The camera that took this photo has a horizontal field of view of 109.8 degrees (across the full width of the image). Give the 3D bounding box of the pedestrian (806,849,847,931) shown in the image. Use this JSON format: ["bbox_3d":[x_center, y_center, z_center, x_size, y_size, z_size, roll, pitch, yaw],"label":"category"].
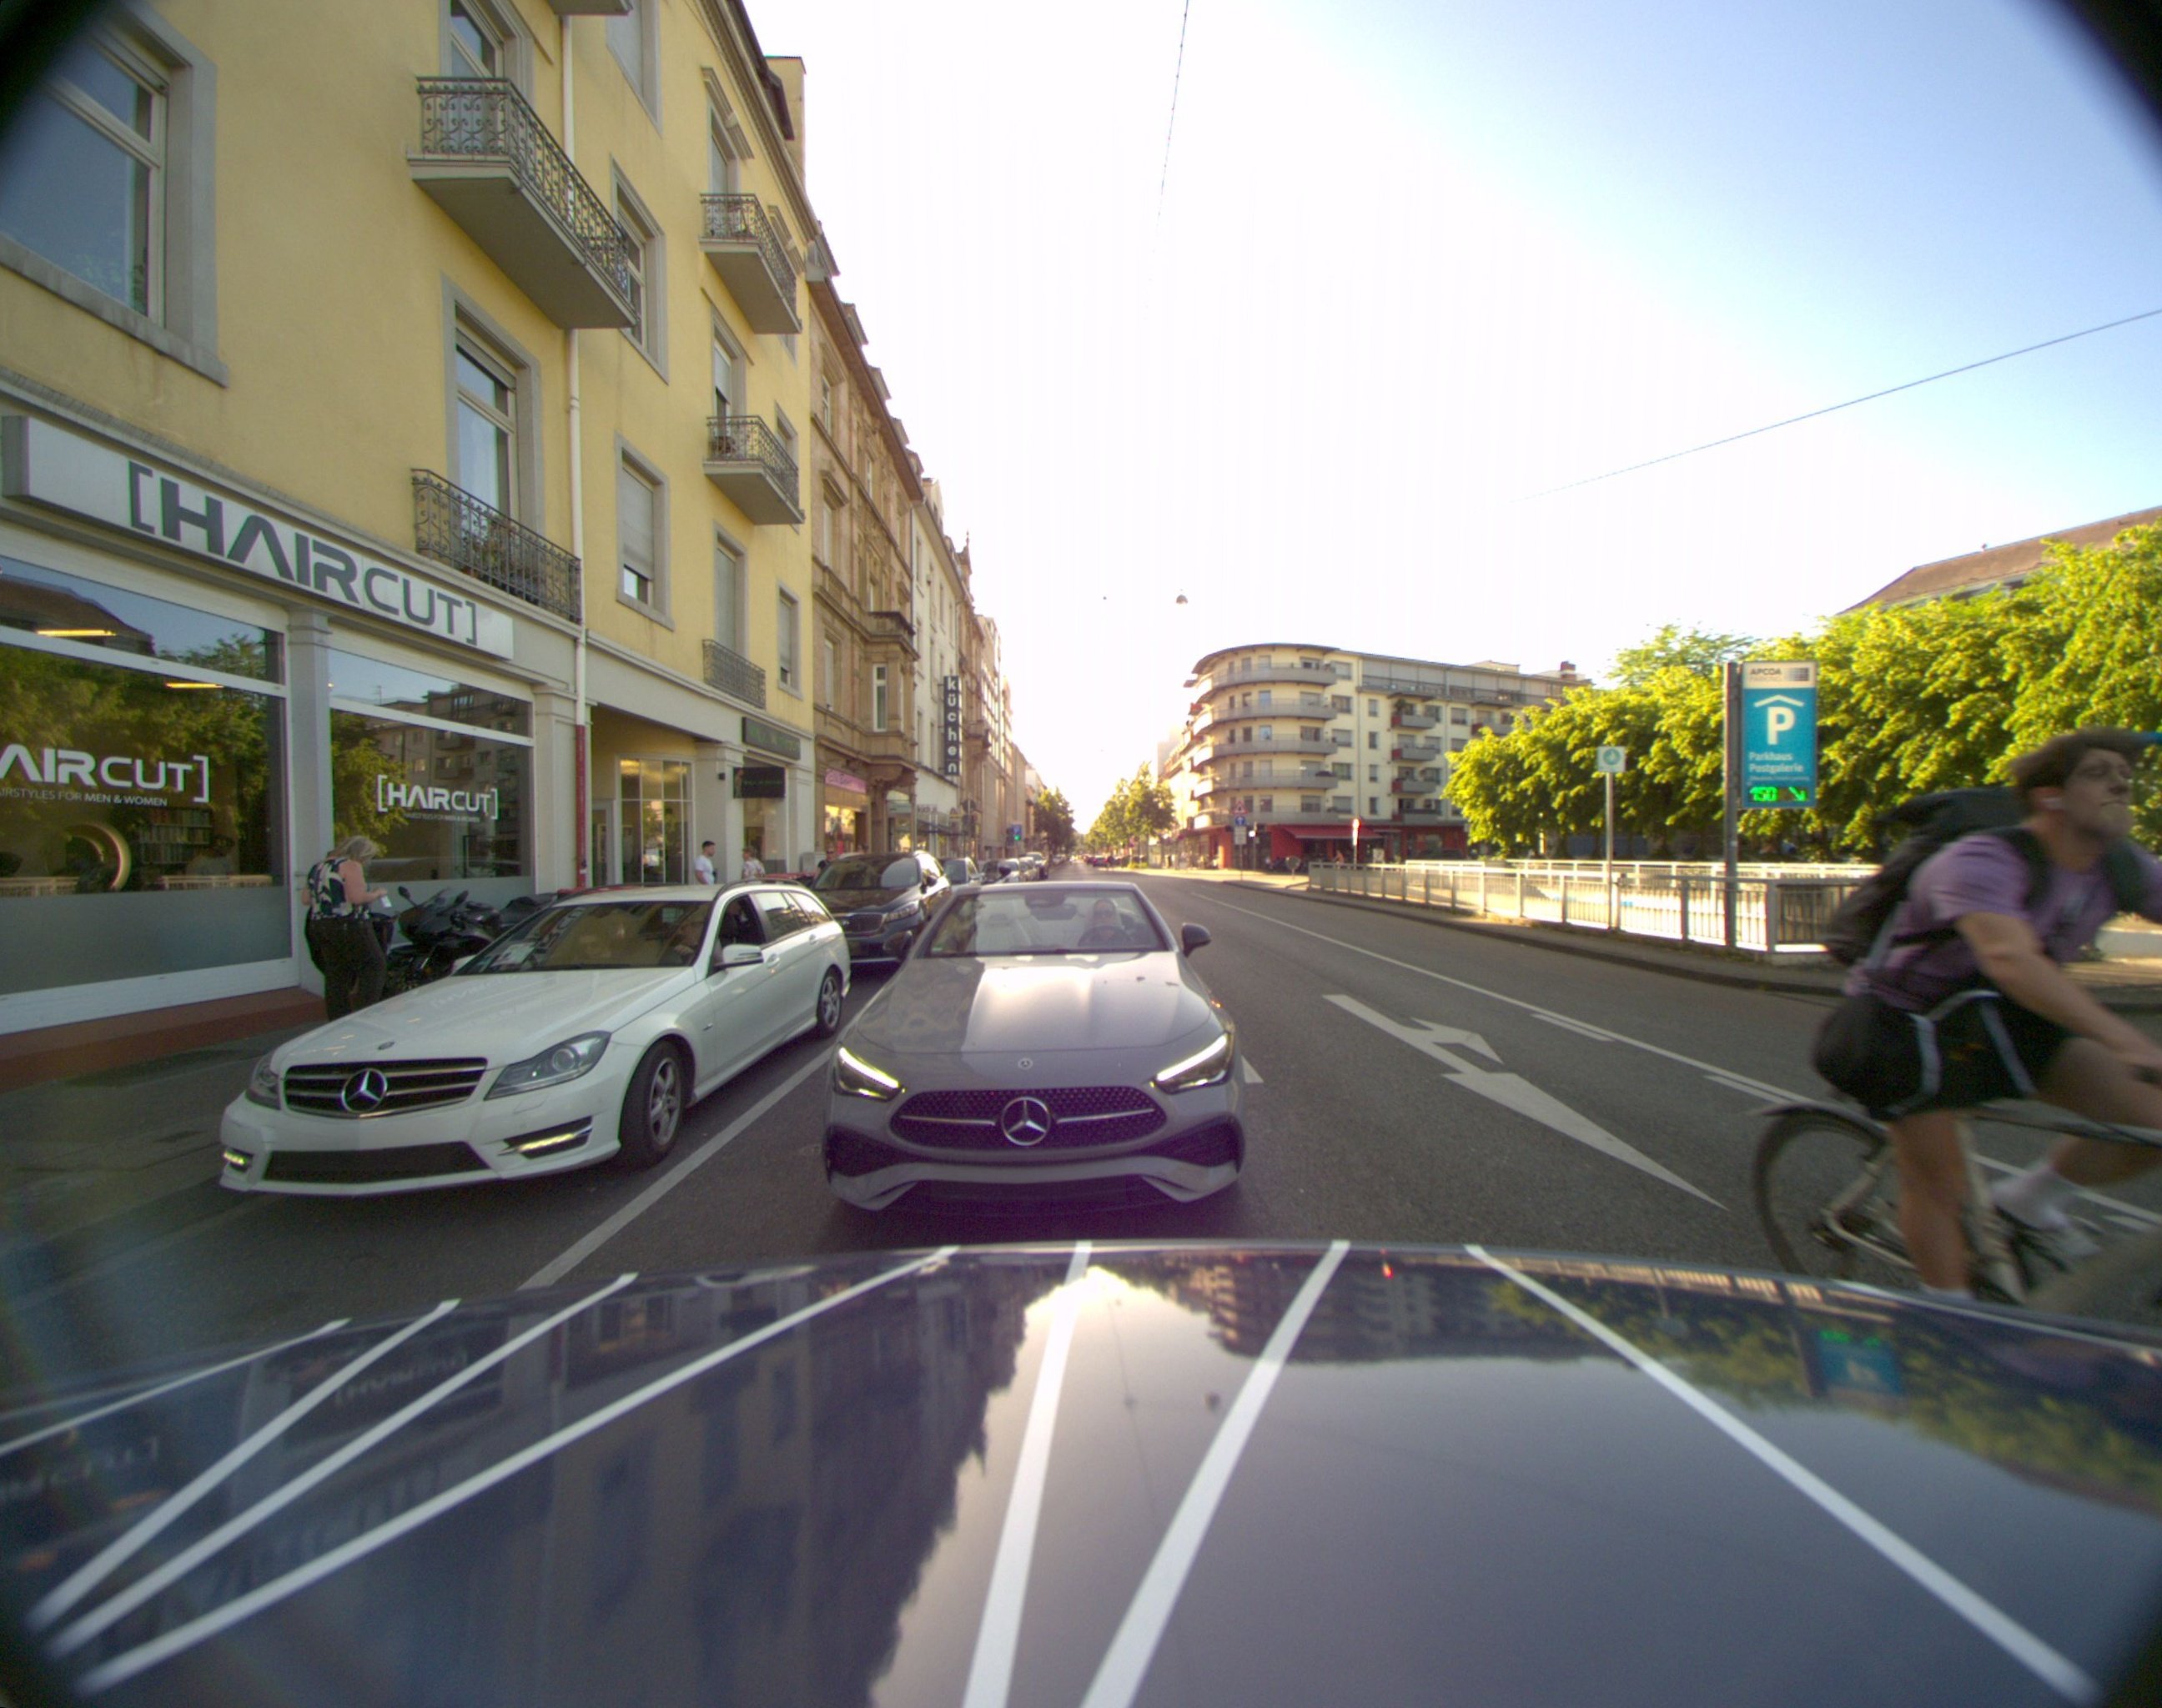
[{"bbox_3d":[-5.195,0.714,15.541,0.620,1.623,0.462,-2,1,-41],"label":"pedestrian"}]

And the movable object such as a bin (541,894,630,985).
[{"bbox_3d":[-6.119,1.041,9.411,0.661,1.035,0.619,2,1,3],"label":"movable object such as a bin"}]

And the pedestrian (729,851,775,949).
[{"bbox_3d":[-5.694,0.770,13.151,0.594,1.651,0.450,0,1,-44],"label":"pedestrian"}]

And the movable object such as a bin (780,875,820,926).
[{"bbox_3d":[-6.070,0.997,16.456,0.606,1.060,0.619,2,1,0],"label":"movable object such as a bin"}]

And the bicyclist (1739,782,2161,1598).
[{"bbox_3d":[2.278,0.578,1.661,0.798,1.426,1.008,-1,1,1],"label":"bicyclist"}]

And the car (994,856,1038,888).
[{"bbox_3d":[-3.070,0.836,36.755,1.737,1.409,3.802,-1,0,0],"label":"car"}]

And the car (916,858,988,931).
[{"bbox_3d":[-2.973,0.890,17.899,1.275,1.509,2.794,-1,0,-2],"label":"car"}]

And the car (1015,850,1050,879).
[{"bbox_3d":[-3.000,0.625,47.724,1.895,1.680,4.049,-1,0,0],"label":"car"}]

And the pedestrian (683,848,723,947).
[{"bbox_3d":[-6.474,0.733,13.008,0.337,1.651,0.524,0,1,18],"label":"pedestrian"}]

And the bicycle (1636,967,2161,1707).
[{"bbox_3d":[2.286,1.008,1.697,0.798,1.226,1.773,-1,0,1],"label":"bicycle"}]

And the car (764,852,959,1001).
[{"bbox_3d":[-2.972,0.854,11.340,1.760,1.726,4.571,-1,0,-3],"label":"car"}]

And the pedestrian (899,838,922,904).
[{"bbox_3d":[-4.601,0.442,20.510,0.434,1.752,0.481,-2,1,1],"label":"pedestrian"}]

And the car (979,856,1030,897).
[{"bbox_3d":[-3.042,0.852,30.740,1.737,1.509,4.164,-1,0,-2],"label":"car"}]

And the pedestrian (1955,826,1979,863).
[{"bbox_3d":[43.704,-0.479,37.489,0.602,1.782,0.581,-2,1,-20],"label":"pedestrian"}]

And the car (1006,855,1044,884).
[{"bbox_3d":[-2.993,0.801,41.095,1.737,1.409,3.802,-1,0,0],"label":"car"}]

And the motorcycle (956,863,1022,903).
[{"bbox_3d":[-3.192,0.997,26.549,2.178,1.272,0.866,-2,1,-42],"label":"motorcycle"}]

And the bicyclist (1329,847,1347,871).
[{"bbox_3d":[17.567,0.368,51.932,0.973,1.605,0.715,-1,1,40],"label":"bicyclist"}]

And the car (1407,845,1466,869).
[{"bbox_3d":[29.222,0.236,62.517,4.432,1.901,1.951,-2,1,-24],"label":"car"}]

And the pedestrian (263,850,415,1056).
[{"bbox_3d":[-6.051,0.778,6.224,0.698,1.623,0.532,0,1,-2],"label":"pedestrian"}]

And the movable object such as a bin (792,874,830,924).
[{"bbox_3d":[-6.059,1.003,17.089,0.606,1.060,0.619,2,1,0],"label":"movable object such as a bin"}]

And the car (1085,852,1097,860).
[{"bbox_3d":[1.627,0.335,128.005,1.895,1.388,4.255,-1,0,-1],"label":"car"}]

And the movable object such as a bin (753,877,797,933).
[{"bbox_3d":[-6.105,1.012,15.195,0.606,1.060,0.619,2,1,0],"label":"movable object such as a bin"}]

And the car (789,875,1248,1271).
[{"bbox_3d":[-0.246,0.963,5.308,1.848,1.440,4.373,-1,0,0],"label":"car"}]

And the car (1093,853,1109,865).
[{"bbox_3d":[2.491,0.549,94.248,1.806,1.388,3.926,-1,0,-1],"label":"car"}]

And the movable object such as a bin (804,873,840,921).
[{"bbox_3d":[-6.043,0.989,17.743,0.606,1.060,0.619,2,1,0],"label":"movable object such as a bin"}]

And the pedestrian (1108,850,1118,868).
[{"bbox_3d":[2.900,0.418,68.943,0.774,1.606,0.696,-1,1,-3],"label":"pedestrian"}]

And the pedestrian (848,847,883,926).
[{"bbox_3d":[-4.507,0.674,15.930,0.413,1.623,0.516,-1,1,31],"label":"pedestrian"}]

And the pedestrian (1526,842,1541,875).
[{"bbox_3d":[24.886,0.246,41.786,0.602,1.782,0.581,-3,2,-45],"label":"pedestrian"}]

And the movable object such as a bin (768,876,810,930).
[{"bbox_3d":[-6.082,1.004,15.842,0.606,1.060,0.619,2,1,0],"label":"movable object such as a bin"}]

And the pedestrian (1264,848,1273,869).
[{"bbox_3d":[14.803,0.344,59.942,0.575,1.698,0.642,-1,1,3],"label":"pedestrian"}]

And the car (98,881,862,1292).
[{"bbox_3d":[-3.055,1.016,5.293,1.743,1.438,4.463,-1,0,0],"label":"car"}]

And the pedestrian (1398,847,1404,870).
[{"bbox_3d":[22.933,0.320,54.409,0.322,1.658,0.362,-1,1,32],"label":"pedestrian"}]

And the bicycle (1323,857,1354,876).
[{"bbox_3d":[17.579,0.865,51.949,1.868,1.205,0.715,-1,1,40],"label":"bicycle"}]

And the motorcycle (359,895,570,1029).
[{"bbox_3d":[-6.202,1.027,7.821,0.551,1.085,2.009,0,0,-1],"label":"motorcycle"}]

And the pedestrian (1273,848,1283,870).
[{"bbox_3d":[15.408,0.351,59.353,0.575,1.698,0.642,-1,1,3],"label":"pedestrian"}]

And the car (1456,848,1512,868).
[{"bbox_3d":[34.282,0.312,64.678,4.300,1.611,1.951,-2,1,-24],"label":"car"}]

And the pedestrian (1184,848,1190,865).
[{"bbox_3d":[9.630,0.219,68.989,0.376,1.521,0.516,-2,1,-3],"label":"pedestrian"}]

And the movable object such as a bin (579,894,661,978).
[{"bbox_3d":[-6.081,1.064,10.041,0.669,1.019,0.619,2,1,3],"label":"movable object such as a bin"}]

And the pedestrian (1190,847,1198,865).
[{"bbox_3d":[10.252,0.164,68.792,0.570,1.612,0.793,-2,1,-3],"label":"pedestrian"}]
